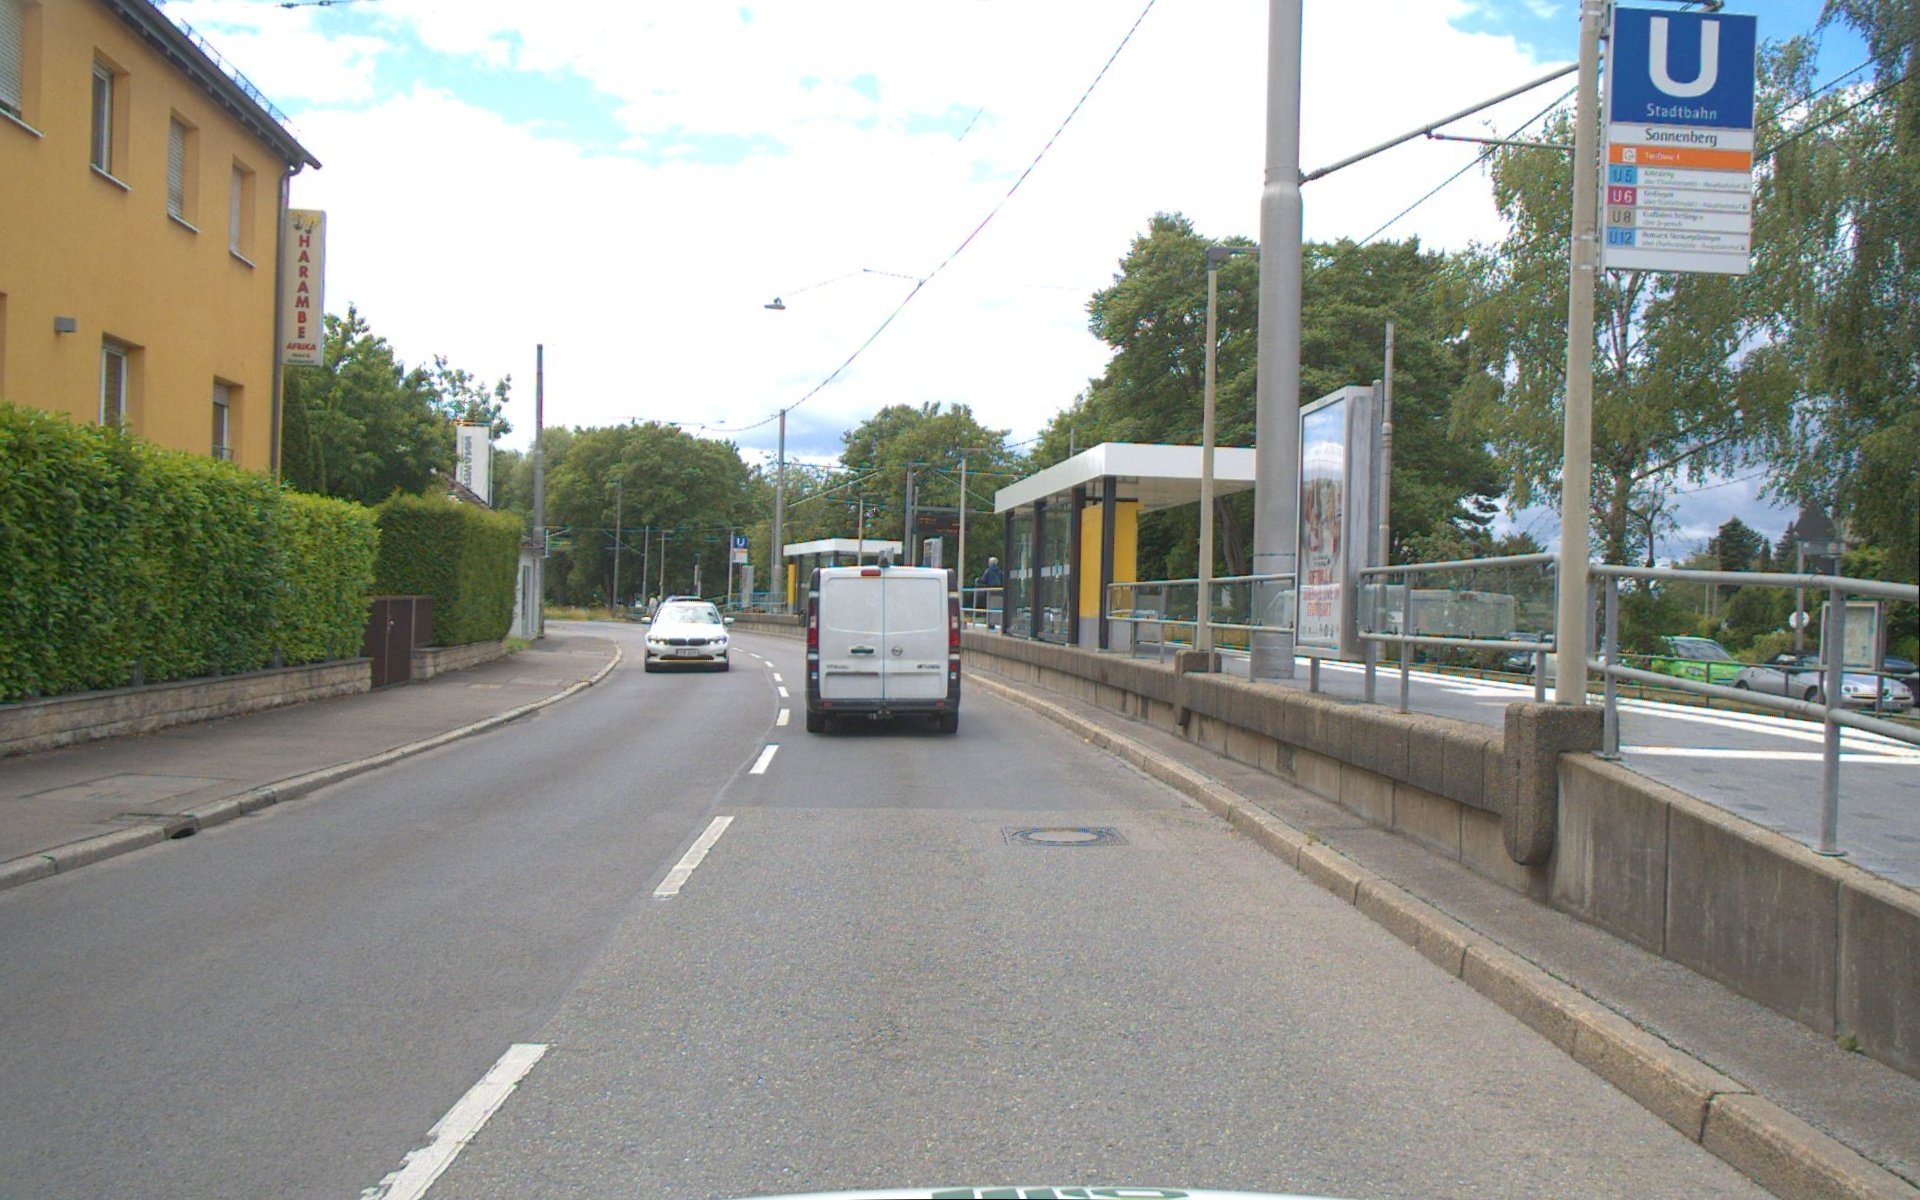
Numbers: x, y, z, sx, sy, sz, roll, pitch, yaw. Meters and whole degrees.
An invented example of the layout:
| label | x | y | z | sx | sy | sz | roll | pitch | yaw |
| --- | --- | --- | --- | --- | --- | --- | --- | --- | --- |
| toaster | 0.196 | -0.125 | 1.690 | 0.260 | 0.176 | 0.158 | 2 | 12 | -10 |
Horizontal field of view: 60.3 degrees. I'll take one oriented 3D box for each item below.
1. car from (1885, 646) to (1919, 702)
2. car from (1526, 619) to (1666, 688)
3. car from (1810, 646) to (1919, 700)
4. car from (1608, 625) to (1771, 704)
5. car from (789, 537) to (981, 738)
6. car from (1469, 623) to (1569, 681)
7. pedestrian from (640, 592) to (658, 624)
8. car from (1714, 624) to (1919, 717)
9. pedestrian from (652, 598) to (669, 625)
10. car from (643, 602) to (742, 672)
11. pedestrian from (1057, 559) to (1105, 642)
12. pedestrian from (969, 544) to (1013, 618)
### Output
| label | x | y | z | sx | sy | sz | roll | pitch | yaw |
| --- | --- | --- | --- | --- | --- | --- | --- | --- | --- |
| car | 26.645 | 1.997 | 44.173 | 1.719 | 1.514 | 4.932 | 1 | -1 | 8 |
| car | 16.196 | 1.337 | 42.338 | 1.722 | 1.601 | 4.096 | 2 | 0 | -4 |
| car | 27.463 | 2.164 | 49.987 | 1.719 | 1.514 | 4.700 | 1 | -1 | 8 |
| car | 16.491 | 1.417 | 37.616 | 1.696 | 1.601 | 3.996 | 2 | 0 | -4 |
| car | -0.933 | 0.440 | 21.349 | 2.074 | 2.171 | 5.438 | 3 | -1 | -2 |
| car | 16.046 | 1.453 | 47.659 | 1.801 | 1.514 | 4.504 | 2 | 0 | 7 |
| pedestrian | -17.856 | 0.469 | 94.995 | 0.754 | 1.826 | 0.621 | 2 | -1 | -42 |
| car | 16.865 | 1.329 | 32.361 | 2.023 | 1.601 | 4.256 | 2 | 0 | -4 |
| pedestrian | -16.938 | 0.630 | 93.518 | 0.754 | 1.518 | 0.621 | 2 | -1 | -42 |
| car | -5.907 | 0.773 | 36.960 | 1.783 | 1.444 | 4.459 | -1 | 0 | -4 |
| pedestrian | 1.983 | 0.010 | 27.172 | 0.609 | 1.321 | 0.718 | 2 | -1 | -9 |
| pedestrian | 0.724 | -0.439 | 39.248 | 0.869 | 1.700 | 0.908 | 2 | -1 | -8 |
